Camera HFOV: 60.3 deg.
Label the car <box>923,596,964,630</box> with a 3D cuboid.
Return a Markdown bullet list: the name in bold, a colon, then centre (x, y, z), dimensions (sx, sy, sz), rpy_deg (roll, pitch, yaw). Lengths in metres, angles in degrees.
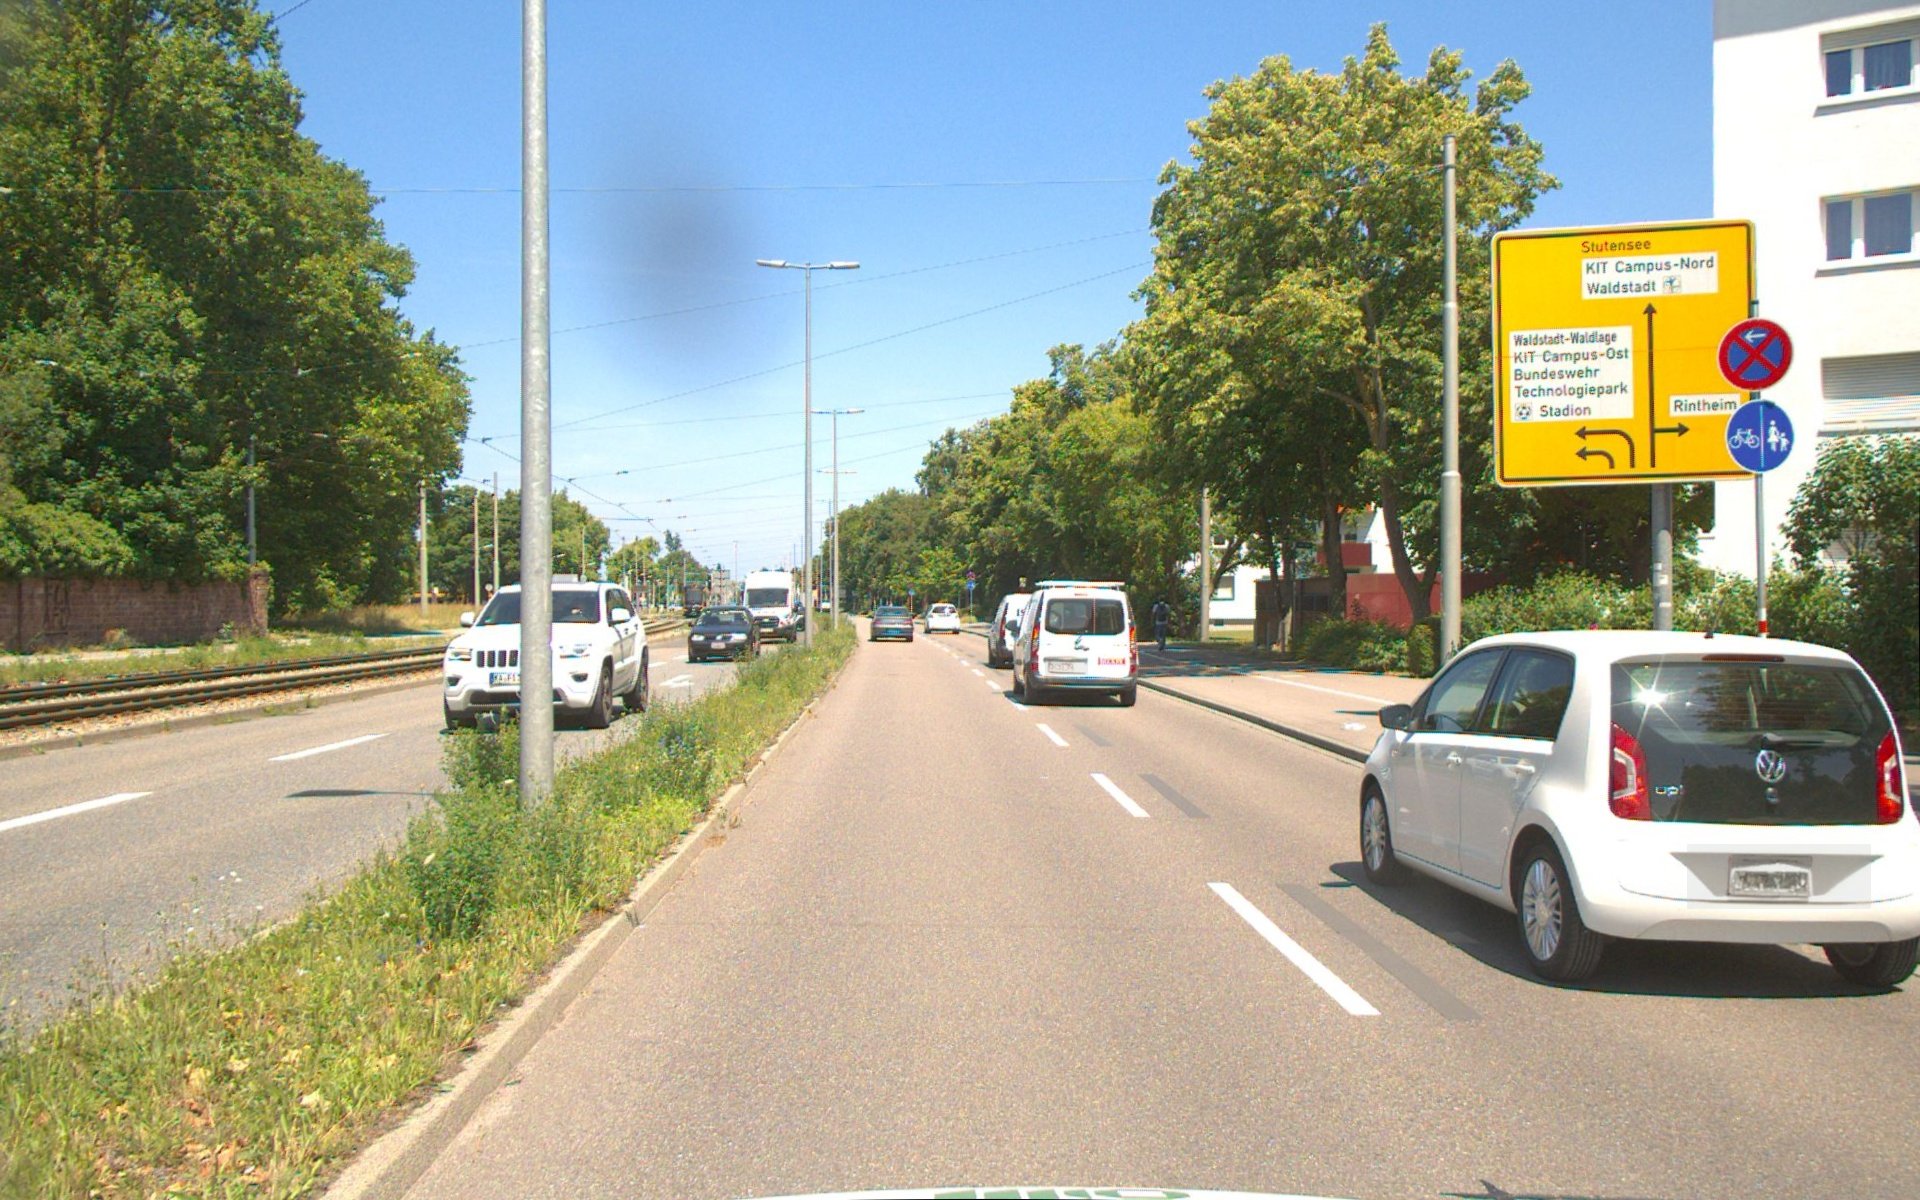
- **car**: centre (-0.897, 0.667, 85.795), dimensions (1.768, 1.566, 3.996), rpy_deg (5, -1, -4)

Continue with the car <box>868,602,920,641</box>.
- **car**: centre (-2.679, 0.861, 66.853), dimensions (1.767, 1.512, 3.993), rpy_deg (0, 0, -7)

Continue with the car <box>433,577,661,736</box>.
- **car**: centre (-5.139, 0.655, 21.222), dimensions (1.862, 1.779, 4.585), rpy_deg (-1, 0, -2)

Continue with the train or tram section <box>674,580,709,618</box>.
- **train or tram section**: centre (-29.027, -0.018, 179.882), dimensions (2.735, 3.732, 37.449), rpy_deg (0, 0, -8)

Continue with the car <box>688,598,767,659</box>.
- **car**: centre (-6.093, 0.726, 43.740), dimensions (1.682, 1.484, 3.912), rpy_deg (-1, 0, -3)

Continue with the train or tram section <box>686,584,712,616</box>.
- **train or tram section**: centre (-33.281, 0.052, 211.285), dimensions (2.735, 3.732, 25.951), rpy_deg (0, 0, -8)

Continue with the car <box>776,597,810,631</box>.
- **car**: centre (-9.350, 0.746, 92.772), dimensions (1.793, 1.787, 4.484), rpy_deg (-2, 0, -5)

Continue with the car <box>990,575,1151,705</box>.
- **car**: centre (1.701, 0.605, 26.972), dimensions (1.789, 1.915, 4.448), rpy_deg (1, 0, -7)

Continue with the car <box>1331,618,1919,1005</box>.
- **car**: centre (3.229, 0.859, 8.437), dimensions (1.626, 1.475, 3.852), rpy_deg (1, 0, -3)

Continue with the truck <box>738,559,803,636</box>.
- **truck**: centre (-7.268, -0.109, 63.927), dimensions (2.040, 2.796, 5.544), rpy_deg (-1, 0, -3)

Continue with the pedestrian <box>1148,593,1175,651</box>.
- **pedestrian**: centre (5.891, 0.640, 48.345), dimensions (0.655, 1.672, 0.856), rpy_deg (0, 0, -4)

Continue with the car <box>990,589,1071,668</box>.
- **car**: centre (1.708, 0.672, 41.332), dimensions (1.693, 1.845, 3.999), rpy_deg (1, 0, -2)
